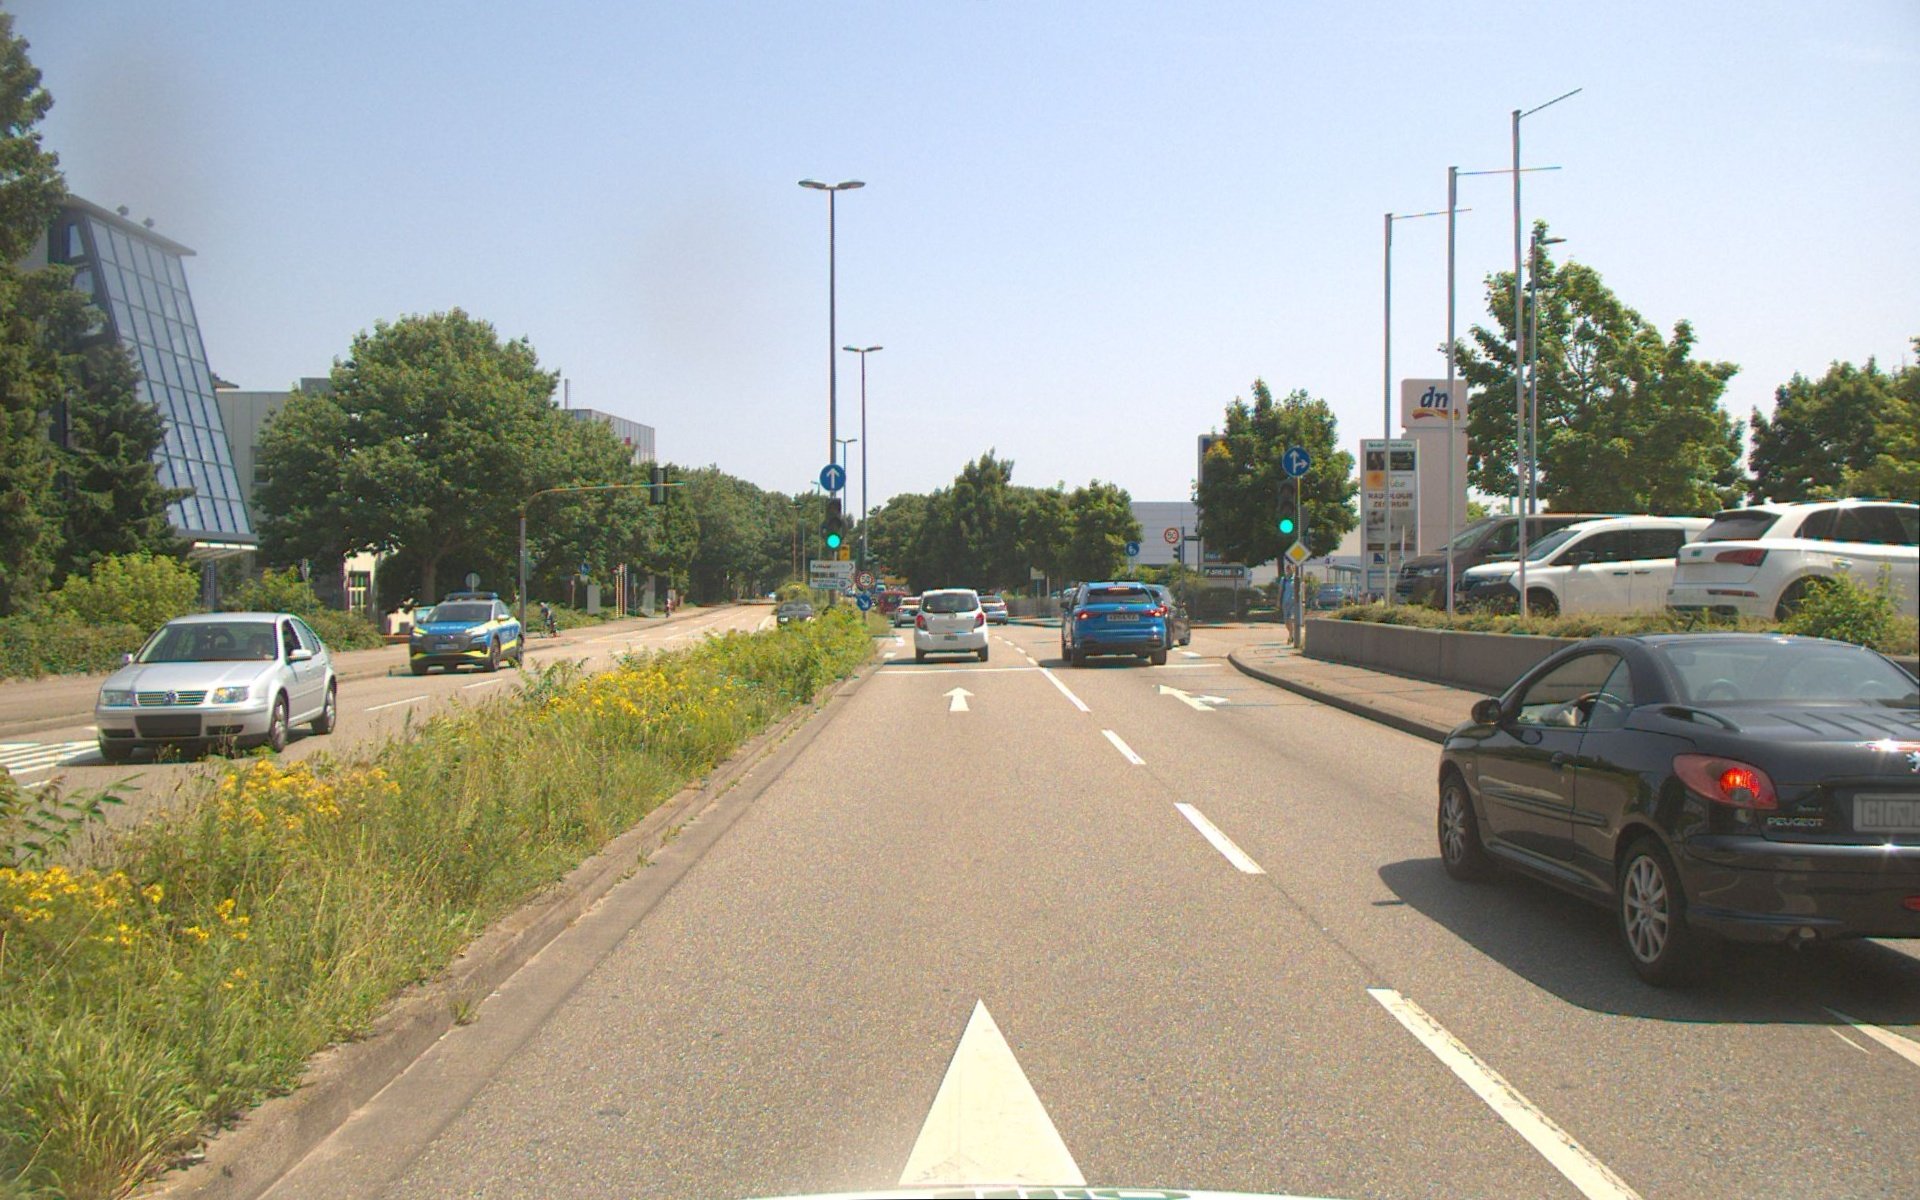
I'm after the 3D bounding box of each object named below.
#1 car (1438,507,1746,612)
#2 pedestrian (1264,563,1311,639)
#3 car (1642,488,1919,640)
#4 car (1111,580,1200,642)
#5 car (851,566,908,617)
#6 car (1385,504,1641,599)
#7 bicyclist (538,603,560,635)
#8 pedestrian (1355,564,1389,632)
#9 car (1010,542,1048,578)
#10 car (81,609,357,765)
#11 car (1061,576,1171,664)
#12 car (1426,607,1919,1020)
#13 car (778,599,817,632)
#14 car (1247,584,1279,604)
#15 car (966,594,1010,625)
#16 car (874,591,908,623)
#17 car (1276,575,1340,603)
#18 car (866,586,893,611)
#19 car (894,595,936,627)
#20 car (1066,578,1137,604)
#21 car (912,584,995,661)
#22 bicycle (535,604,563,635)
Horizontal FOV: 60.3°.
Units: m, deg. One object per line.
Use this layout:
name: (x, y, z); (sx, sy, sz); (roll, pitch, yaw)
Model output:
car: (10.266, -0.649, 27.062); (4.260, 1.571, 1.999); (-1, 0, -4)
pedestrian: (7.251, 0.023, 36.598); (0.759, 1.636, 1.084); (-1, 0, 26)
car: (10.309, -0.416, 18.585); (4.444, 1.571, 1.999); (-1, 0, -2)
car: (4.655, 0.238, 39.013); (1.427, 1.400, 3.493); (-1, 0, 18)
car: (-2.882, -0.325, 58.644); (1.784, 1.691, 3.996); (-1, 2, -6)
car: (9.893, -0.857, 29.789); (3.908, 1.571, 1.999); (-1, 0, -4)
bicyclist: (-20.992, 0.945, 84.498); (0.890, 1.600, 1.025); (-1, 0, -2)
pedestrian: (10.459, -0.055, 42.031); (0.641, 1.715, 0.748); (-1, 0, -2)
car: (4.072, -2.342, 98.094); (1.735, 2.048, 3.987); (-1, 1, -5)
car: (-7.948, 0.844, 18.169); (1.704, 1.437, 4.362); (-1, 0, -10)
car: (3.014, 0.347, 32.539); (1.790, 1.607, 3.605); (0, 1, -1)
car: (3.534, 0.790, 7.780); (1.594, 1.387, 3.605); (1, 1, -1)
car: (-6.749, 0.615, 68.453); (1.544, 1.291, 3.725); (-1, 0, -6)
car: (19.315, -0.381, 105.481); (1.473, 1.284, 3.165); (-1, 0, 0)
car: (1.338, 0.457, 81.152); (1.953, 1.445, 3.999); (-1, 0, -2)
car: (-3.915, 0.388, 93.503); (1.741, 1.770, 3.996); (-1, 0, -5)
car: (18.812, -0.589, 89.456); (1.495, 1.489, 3.118); (-1, 0, -41)
car: (-5.713, -0.095, 117.672); (1.761, 1.719, 3.999); (-1, 0, -2)
car: (-2.184, 0.519, 79.477); (1.953, 1.467, 3.998); (-1, 0, -2)
car: (8.360, -0.539, 97.994); (3.911, 1.512, 1.648); (-1, 0, -7)
car: (-0.143, 0.454, 36.448); (1.712, 1.546, 3.746); (1, 1, 0)
bicycle: (-20.993, 0.991, 84.555); (0.890, 1.528, 2.473); (-1, 0, -2)
